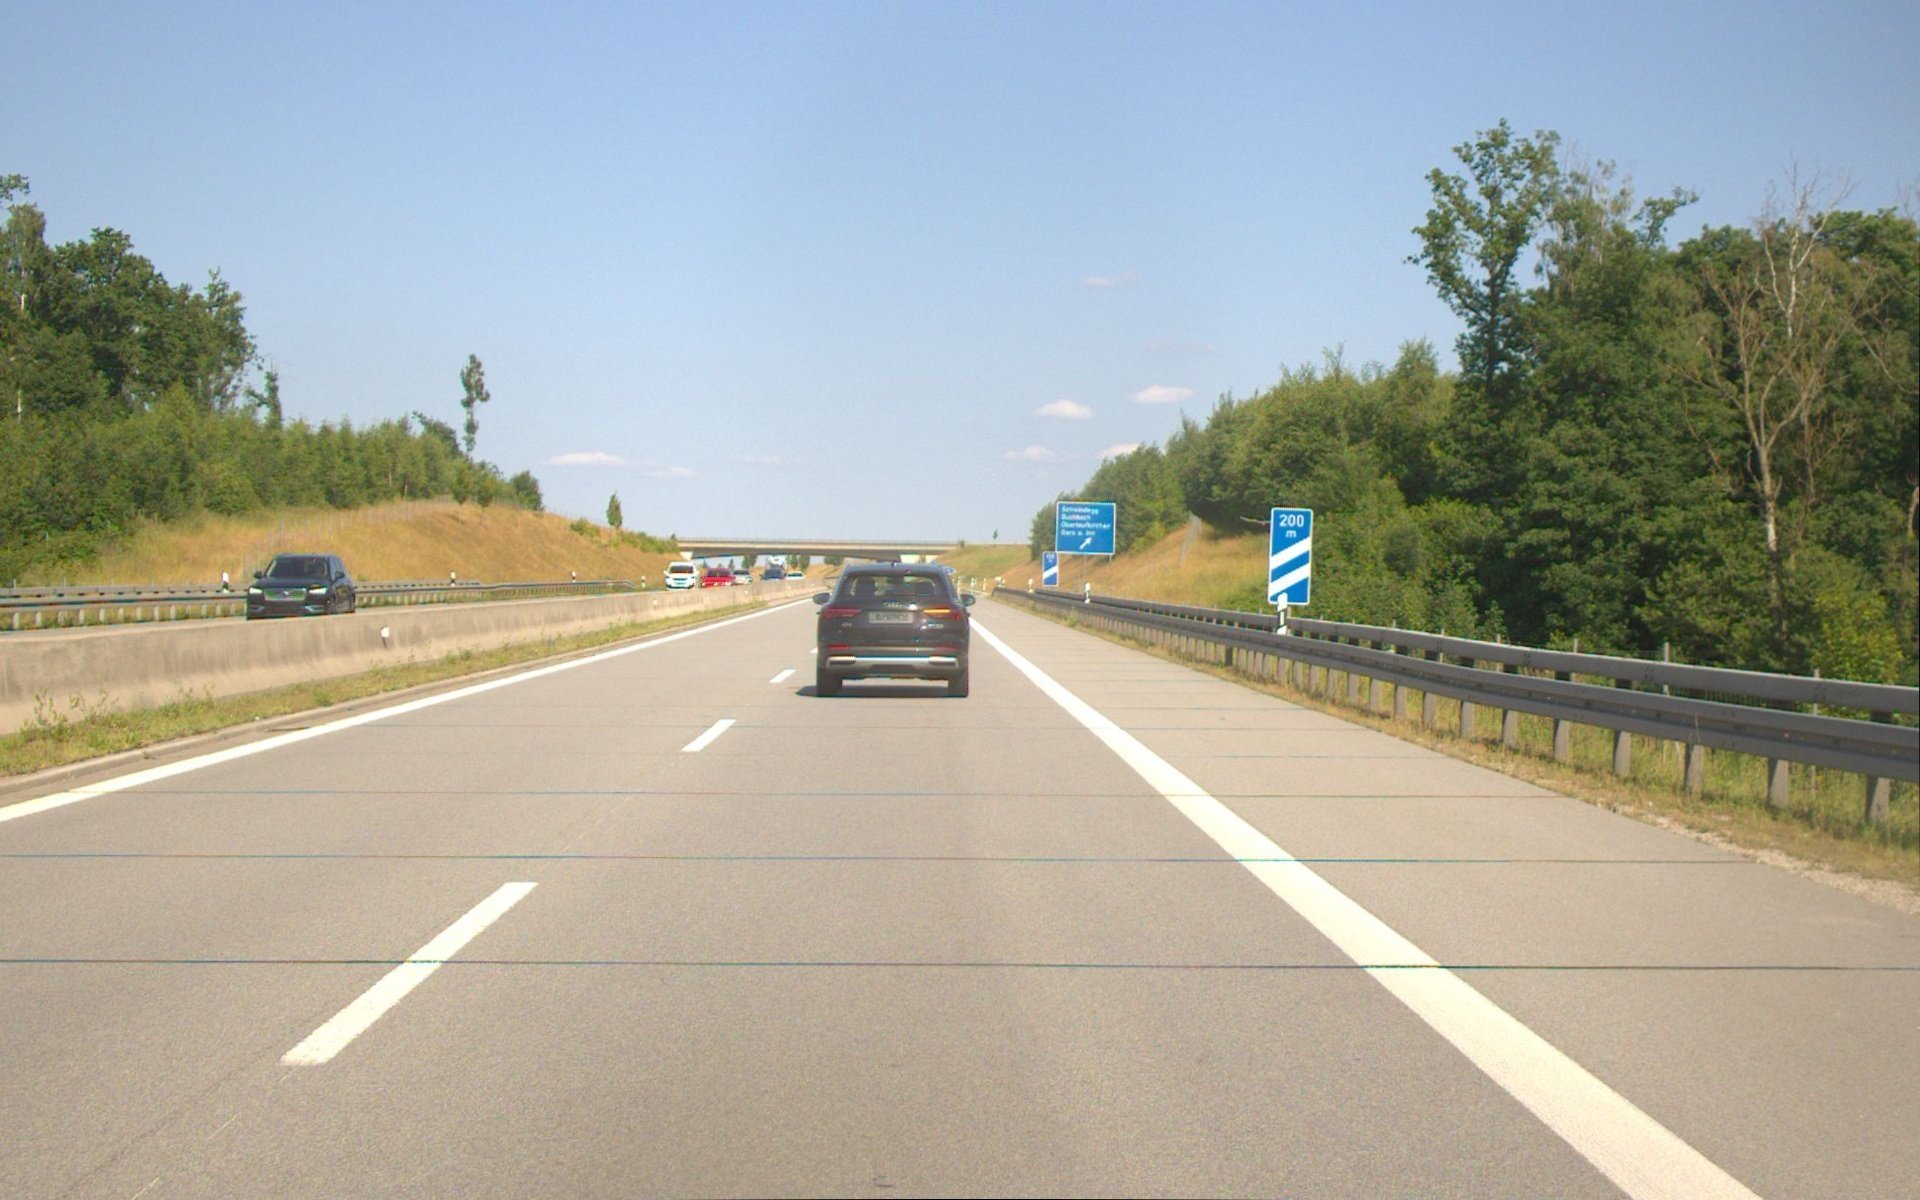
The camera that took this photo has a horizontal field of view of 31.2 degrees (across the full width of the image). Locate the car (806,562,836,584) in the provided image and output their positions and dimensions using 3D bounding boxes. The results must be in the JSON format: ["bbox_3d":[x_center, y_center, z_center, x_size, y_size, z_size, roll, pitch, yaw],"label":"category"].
[{"bbox_3d":[-10.071,-1.981,248.938,1.993,1.576,4.649,1,1,0],"label":"car"}]

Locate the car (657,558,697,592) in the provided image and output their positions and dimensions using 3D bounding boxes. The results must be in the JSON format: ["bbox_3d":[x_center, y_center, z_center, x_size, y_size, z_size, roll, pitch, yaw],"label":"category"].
[{"bbox_3d":[-17.742,-1.611,216.009,1.993,2.076,6.227,1,1,0],"label":"car"}]

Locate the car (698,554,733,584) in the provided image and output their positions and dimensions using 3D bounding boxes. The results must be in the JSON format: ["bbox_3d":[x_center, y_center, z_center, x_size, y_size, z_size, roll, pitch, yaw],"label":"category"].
[{"bbox_3d":[-14.077,-1.791,198.088,1.667,1.638,4.889,1,1,0],"label":"car"}]

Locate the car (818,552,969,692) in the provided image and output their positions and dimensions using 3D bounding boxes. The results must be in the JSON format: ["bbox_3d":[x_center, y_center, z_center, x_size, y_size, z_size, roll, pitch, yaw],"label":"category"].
[{"bbox_3d":[-0.777,0.224,42.117,1.722,1.582,5.222,1,1,0],"label":"car"}]

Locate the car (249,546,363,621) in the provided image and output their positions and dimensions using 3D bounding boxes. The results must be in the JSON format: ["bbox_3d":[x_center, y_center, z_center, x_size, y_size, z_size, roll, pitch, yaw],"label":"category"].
[{"bbox_3d":[-15.301,-0.397,80.586,1.901,1.686,4.269,1,1,-1],"label":"car"}]
